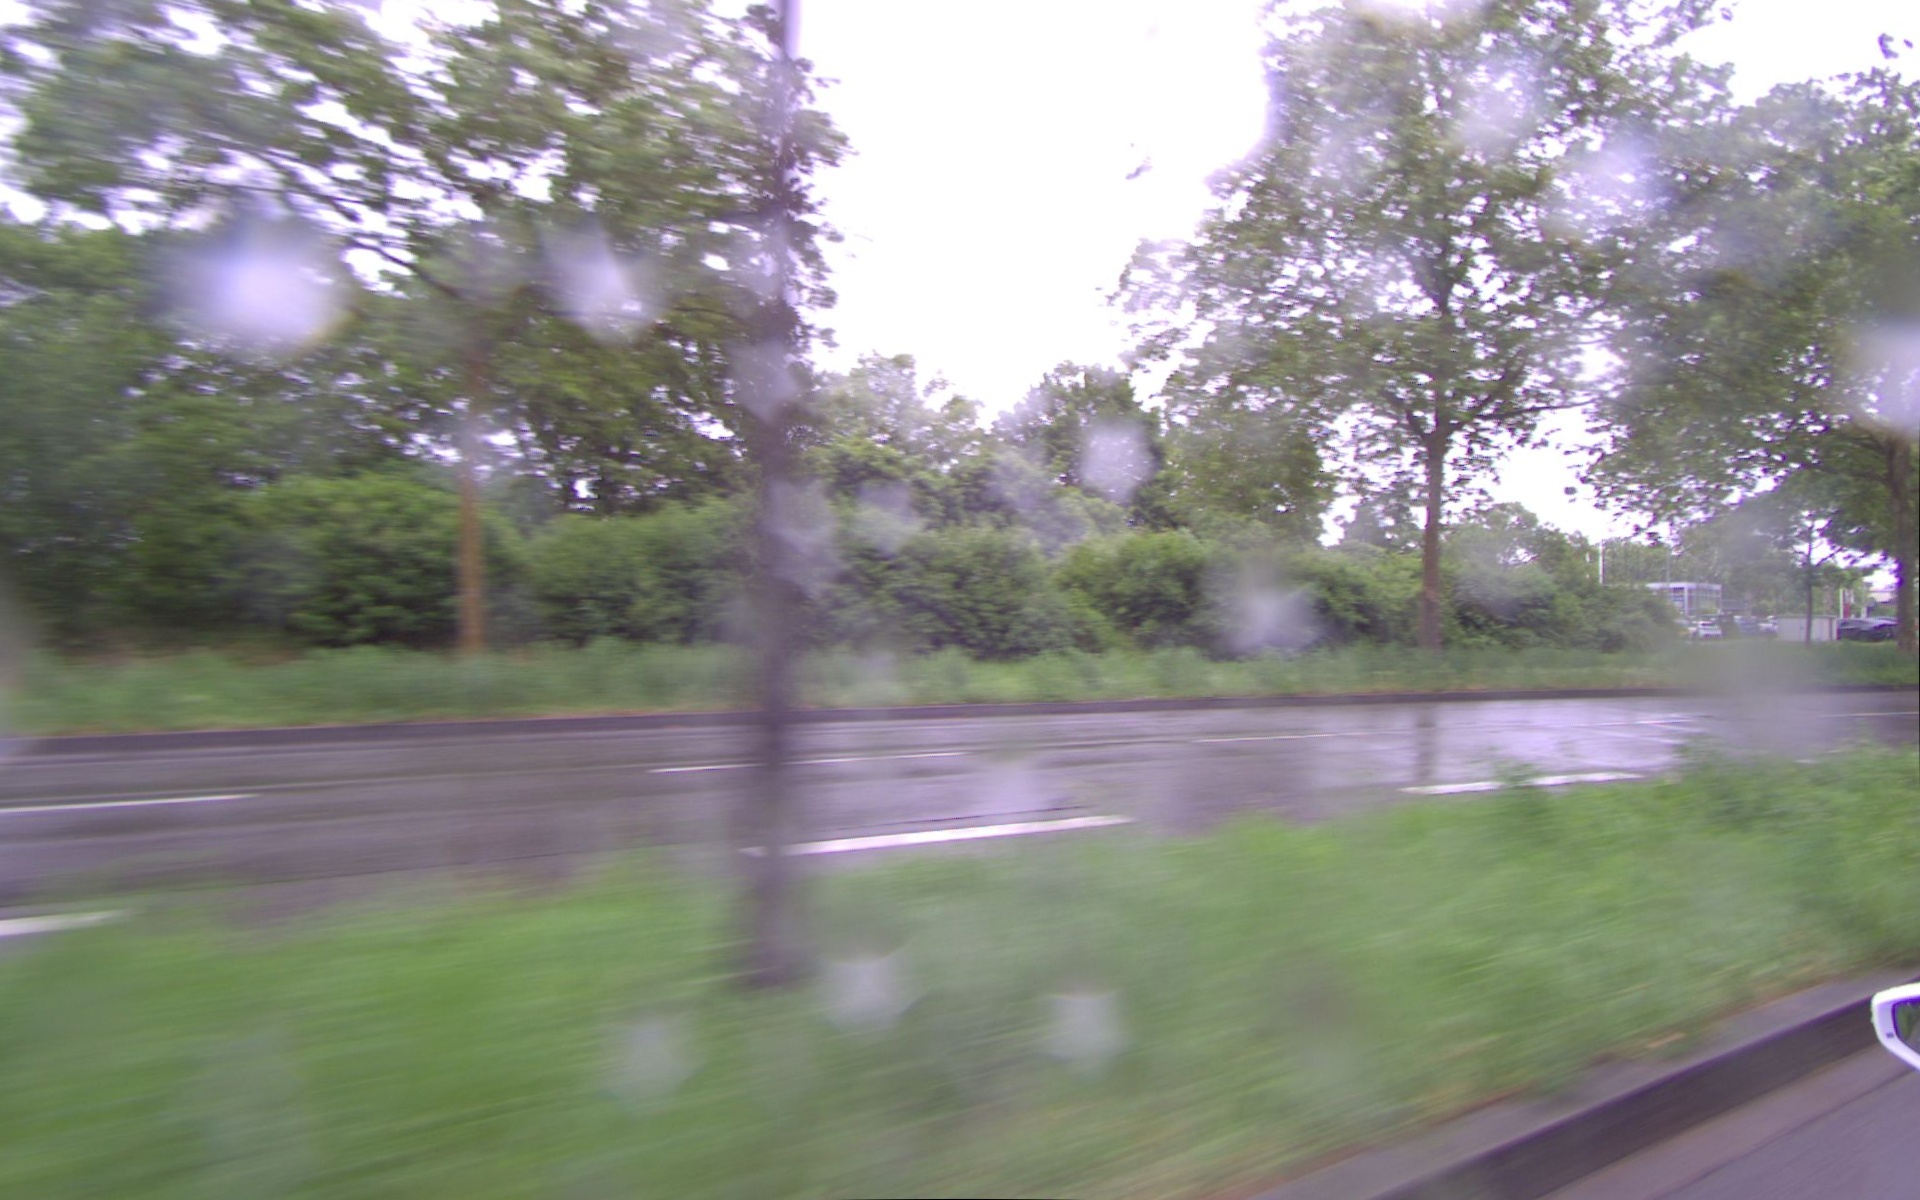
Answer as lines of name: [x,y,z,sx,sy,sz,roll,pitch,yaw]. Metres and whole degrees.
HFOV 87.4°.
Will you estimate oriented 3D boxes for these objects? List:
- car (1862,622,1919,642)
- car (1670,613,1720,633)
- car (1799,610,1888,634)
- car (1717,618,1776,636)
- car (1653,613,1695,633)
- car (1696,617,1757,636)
car: [71.757,2.432,77.180,1.578,1.514,3.292,0,-1,-28]
car: [57.491,1.744,78.651,1.566,1.514,4.207,0,-1,13]
car: [58.220,1.440,66.265,1.578,1.514,4.174,0,-1,-28]
car: [68.510,2.326,87.559,1.578,1.514,3.745,0,-1,-28]
car: [55.429,1.785,78.034,1.566,1.514,3.074,0,-1,13]
car: [63.916,2.201,83.843,1.578,1.514,3.745,0,-1,-28]
